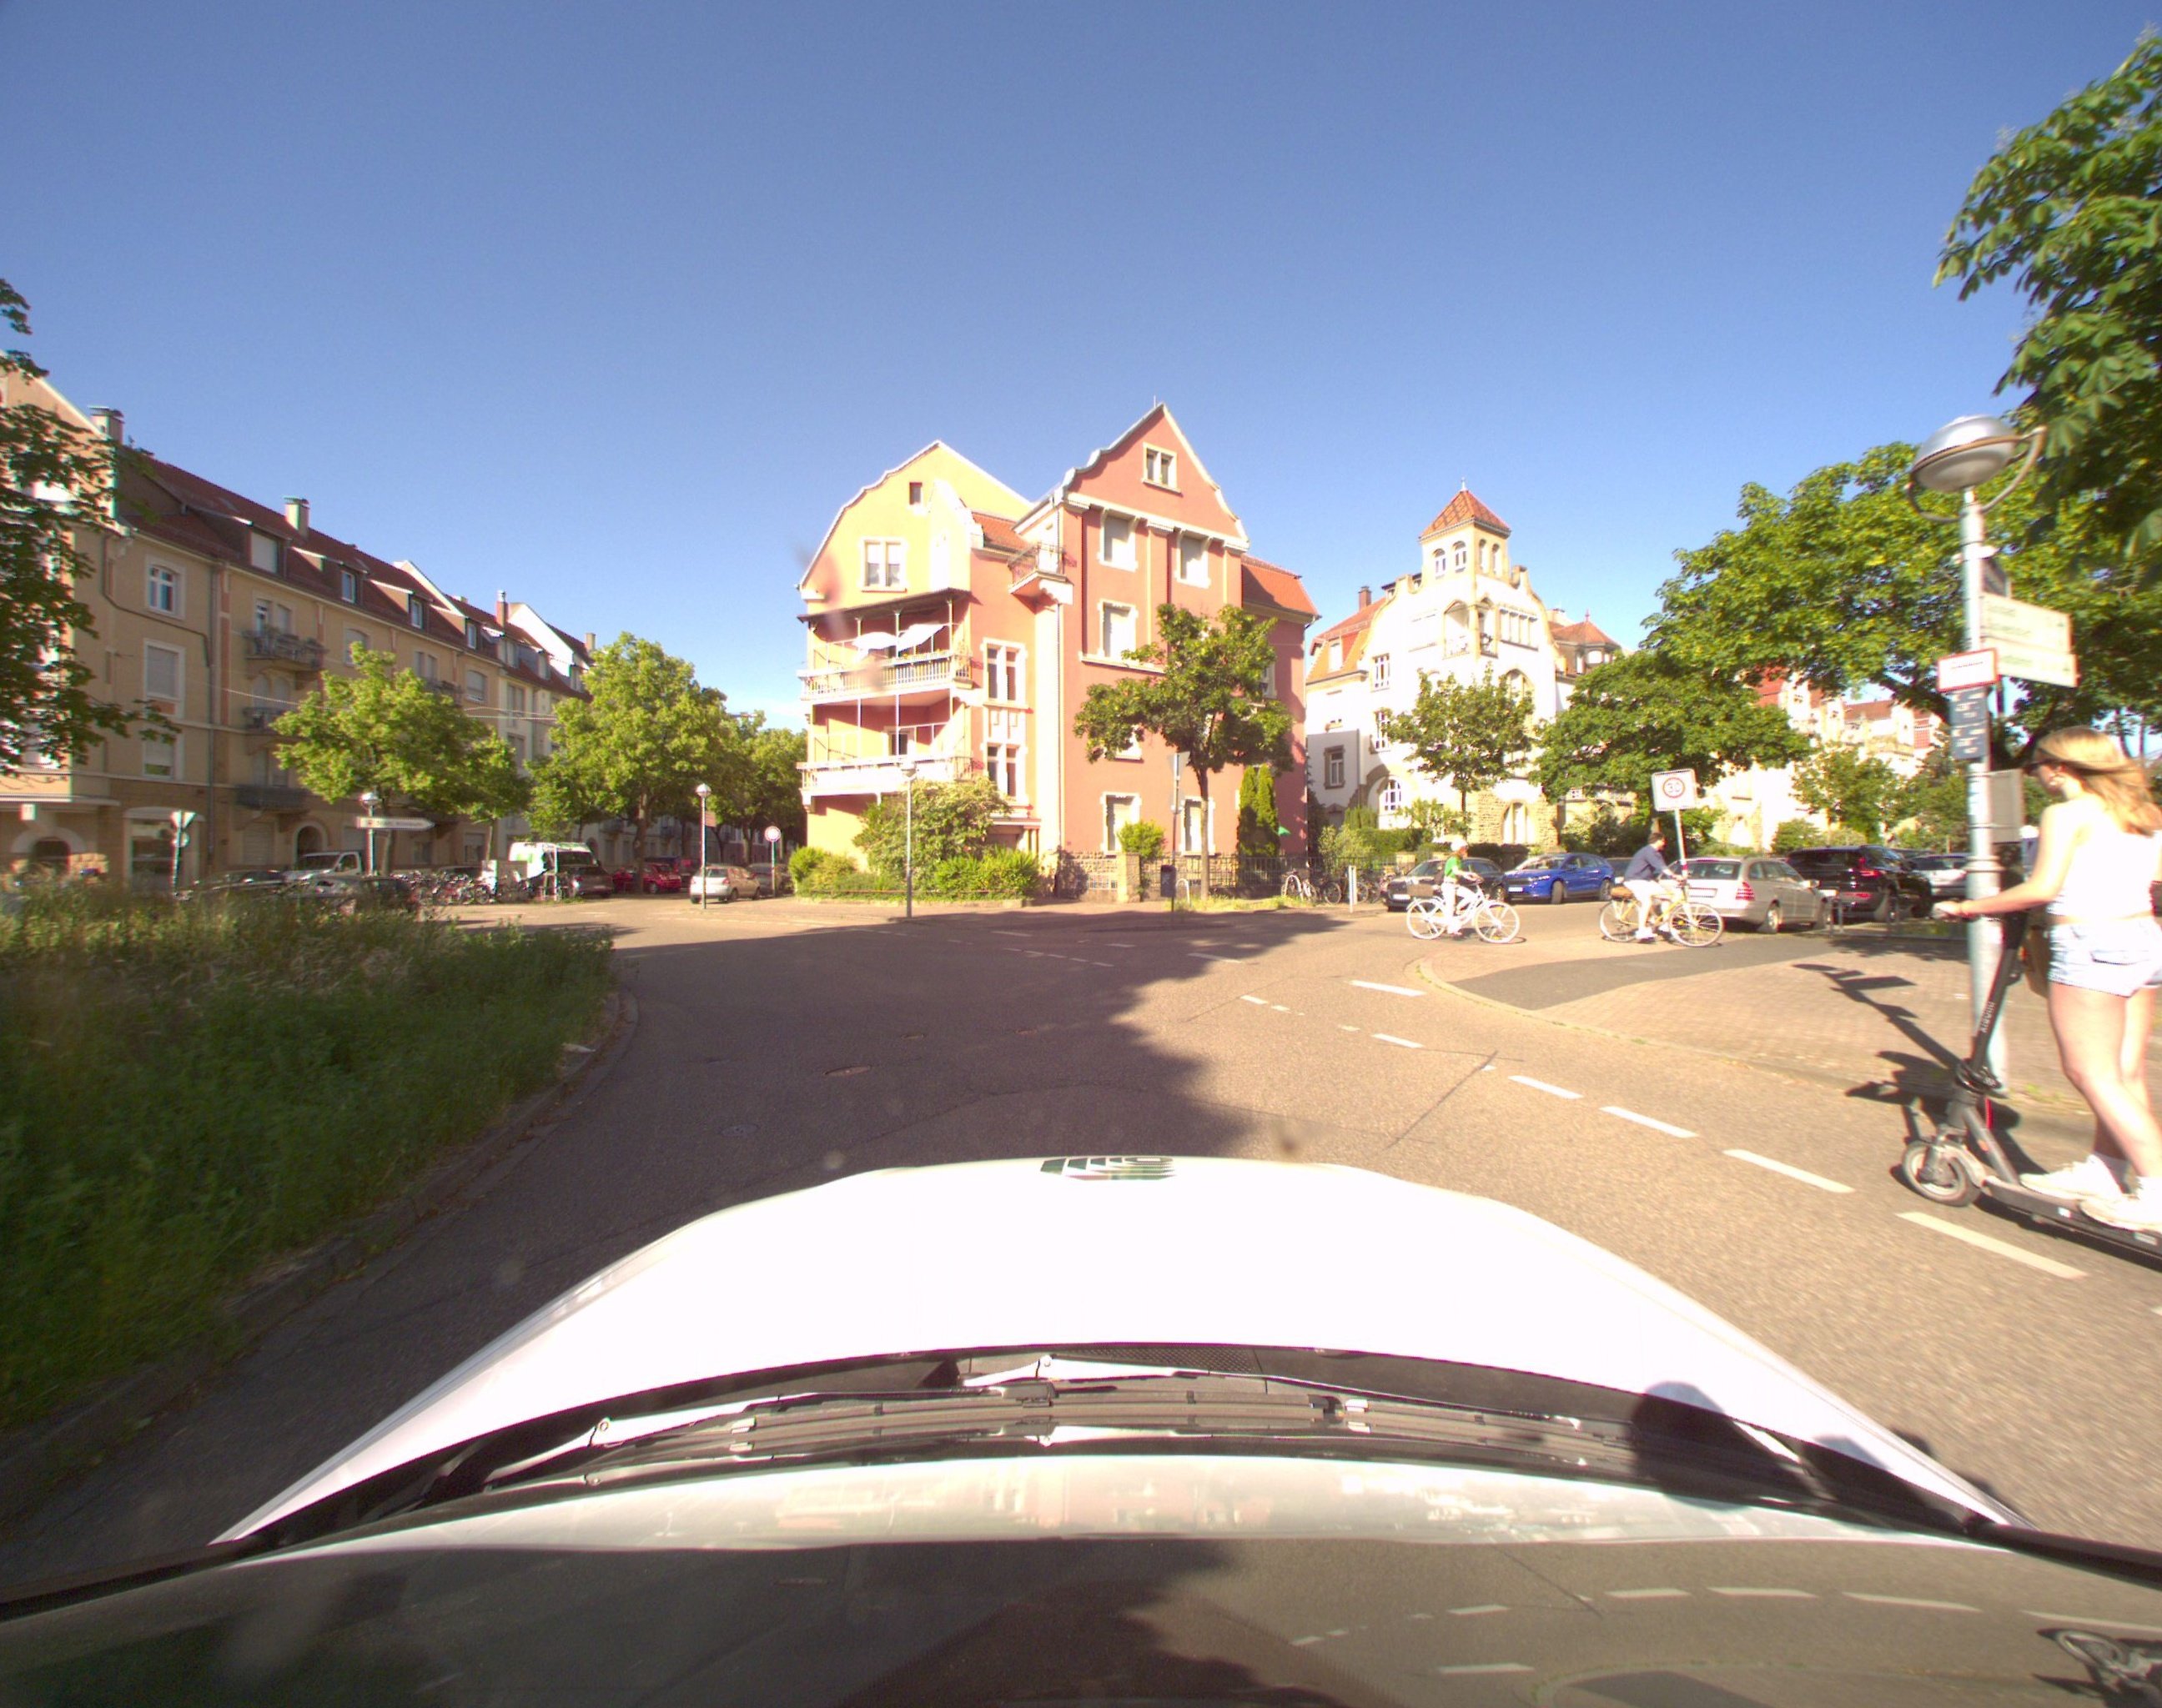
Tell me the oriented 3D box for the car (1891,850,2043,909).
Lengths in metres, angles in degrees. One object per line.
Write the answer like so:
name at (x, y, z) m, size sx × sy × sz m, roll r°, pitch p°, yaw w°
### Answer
car at (24.100, 0.635, 22.129) m, size 4.349 × 1.474 × 1.793 m, roll 0°, pitch 0°, yaw -28°

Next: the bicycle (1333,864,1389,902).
bicycle at (9.009, 0.918, 26.222) m, size 0.503 × 1.107 × 1.707 m, roll 0°, pitch 1°, yaw -37°

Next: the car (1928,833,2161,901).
car at (30.911, 0.383, 26.283) m, size 1.817 × 2.001 × 4.728 m, roll 0°, pitch 0°, yaw -35°

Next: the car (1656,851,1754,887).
car at (26.647, 0.645, 34.746) m, size 4.414 × 1.397 × 1.791 m, roll -1°, pitch -3°, yaw -32°

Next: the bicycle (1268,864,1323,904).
bicycle at (6.464, 0.879, 24.600) m, size 0.548 × 1.115 × 1.710 m, roll 0°, pitch 1°, yaw -30°

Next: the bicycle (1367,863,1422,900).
bicycle at (10.388, 0.894, 27.045) m, size 0.518 × 1.107 × 1.709 m, roll 0°, pitch 1°, yaw -34°

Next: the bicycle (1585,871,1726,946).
bicycle at (9.118, 0.834, 12.991) m, size 0.649 × 1.108 × 1.697 m, roll 0°, pitch -2°, yaw -37°

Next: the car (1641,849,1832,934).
car at (12.660, 0.624, 15.651) m, size 4.357 × 1.416 × 1.790 m, roll 0°, pitch 0°, yaw -36°

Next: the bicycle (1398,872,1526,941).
bicycle at (6.444, 0.879, 13.834) m, size 1.839 × 1.108 × 0.599 m, roll -3°, pitch -2°, yaw 37°

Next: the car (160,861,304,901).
car at (-32.588, 0.976, 31.415) m, size 1.681 × 1.390 × 3.913 m, roll -2°, pitch 0°, yaw -6°

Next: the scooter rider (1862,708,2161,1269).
scooter rider at (3.527, 0.435, 3.027) m, size 0.623 × 1.832 × 0.630 m, roll 0°, pitch -1°, yaw -9°

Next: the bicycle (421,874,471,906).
bicycle at (-22.813, 1.282, 29.289) m, size 0.497 × 1.102 × 1.649 m, roll -1°, pitch -1°, yaw 0°

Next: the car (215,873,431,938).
car at (-19.152, 1.258, 20.670) m, size 3.963 × 1.418 × 1.876 m, roll 0°, pitch 3°, yaw 9°

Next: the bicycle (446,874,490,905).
bicycle at (-22.265, 1.276, 29.610) m, size 0.416 × 1.089 × 1.573 m, roll -1°, pitch -1°, yaw 0°

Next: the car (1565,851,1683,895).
car at (19.504, 0.671, 29.204) m, size 4.414 × 1.451 × 1.791 m, roll -1°, pitch -3°, yaw -32°

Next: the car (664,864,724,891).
car at (-22.184, 1.318, 46.655) m, size 3.340 × 1.470 × 1.699 m, roll 0°, pitch -1°, yaw 35°

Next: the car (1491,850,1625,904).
car at (15.351, 0.718, 26.147) m, size 4.414 × 1.562 × 1.791 m, roll -1°, pitch -3°, yaw -32°

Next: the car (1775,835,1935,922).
car at (17.201, 0.478, 18.044) m, size 4.357 × 1.728 × 1.790 m, roll 0°, pitch 0°, yaw -36°

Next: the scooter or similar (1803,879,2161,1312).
scooter or similar at (3.527, 0.754, 3.026) m, size 0.630 × 1.283 × 1.103 m, roll 0°, pitch -1°, yaw -9°

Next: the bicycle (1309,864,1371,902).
bicycle at (8.076, 0.888, 25.434) m, size 1.807 × 1.107 × 0.504 m, roll 1°, pitch 1°, yaw 44°

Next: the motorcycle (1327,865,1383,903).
motorcycle at (8.650, 0.917, 25.779) m, size 0.503 × 1.107 × 1.707 m, roll 0°, pitch 1°, yaw -37°

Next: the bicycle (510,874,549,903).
bicycle at (-21.073, 1.307, 31.149) m, size 0.416 × 1.086 × 1.526 m, roll -1°, pitch -1°, yaw 1°

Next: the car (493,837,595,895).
car at (-25.878, 0.548, 39.123) m, size 6.294 × 2.600 × 2.117 m, roll 0°, pitch -1°, yaw 38°

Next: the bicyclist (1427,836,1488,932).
bicyclist at (6.414, 0.515, 13.870) m, size 0.794 × 1.581 × 0.599 m, roll -3°, pitch -2°, yaw 37°

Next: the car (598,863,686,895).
car at (-21.199, 1.174, 39.366) m, size 3.351 × 1.447 × 1.693 m, roll 1°, pitch -1°, yaw 11°

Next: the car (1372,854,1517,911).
car at (10.432, 0.790, 23.258) m, size 4.358 × 1.484 × 1.789 m, roll 0°, pitch -3°, yaw -36°

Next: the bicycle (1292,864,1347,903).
bicycle at (7.337, 0.892, 25.094) m, size 0.548 × 1.115 × 1.710 m, roll 0°, pitch 1°, yaw -30°

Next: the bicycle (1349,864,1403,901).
bicycle at (9.604, 0.914, 26.561) m, size 0.503 × 1.107 × 1.709 m, roll 0°, pitch 1°, yaw -34°

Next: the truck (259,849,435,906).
truck at (-33.104, 0.981, 37.134) m, size 2.127 × 2.292 × 6.616 m, roll -2°, pitch 0°, yaw -2°

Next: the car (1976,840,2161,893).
car at (37.314, 0.429, 30.585) m, size 1.816 × 1.841 × 4.731 m, roll 0°, pitch 0°, yaw -32°

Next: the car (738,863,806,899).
car at (-14.198, 1.191, 37.655) m, size 1.679 × 1.562 × 4.290 m, roll 1°, pitch -1°, yaw -3°

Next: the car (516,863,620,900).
car at (-21.612, 1.144, 34.318) m, size 3.875 × 1.447 × 1.697 m, roll 1°, pitch -1°, yaw 22°

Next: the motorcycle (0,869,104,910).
motorcycle at (-37.189, 1.272, 29.428) m, size 2.259 × 1.411 × 0.693 m, roll 2°, pitch -1°, yaw -34°

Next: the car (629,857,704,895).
car at (-21.289, 1.111, 41.841) m, size 3.342 × 1.865 × 1.698 m, roll 0°, pitch -1°, yaw 26°

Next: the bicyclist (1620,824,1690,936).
bicyclist at (9.137, 0.409, 12.969) m, size 0.649 × 1.715 × 0.715 m, roll 0°, pitch -2°, yaw -37°

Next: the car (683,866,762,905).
car at (-14.267, 1.216, 32.597) m, size 1.679 × 1.446 × 3.542 m, roll 1°, pitch -1°, yaw -3°

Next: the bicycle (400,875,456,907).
bicycle at (-23.465, 1.316, 29.303) m, size 0.653 × 1.089 × 1.728 m, roll -1°, pitch -1°, yaw -1°

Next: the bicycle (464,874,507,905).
bicycle at (-21.810, 1.274, 29.837) m, size 0.416 × 1.086 × 1.526 m, roll -1°, pitch -1°, yaw 1°

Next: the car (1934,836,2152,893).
car at (33.484, 0.338, 28.516) m, size 1.816 × 1.841 × 4.731 m, roll 0°, pitch 0°, yaw -32°

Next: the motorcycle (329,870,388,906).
motorcycle at (-26.662, 1.243, 30.066) m, size 1.699 × 1.270 × 0.538 m, roll 1°, pitch 0°, yaw 2°
